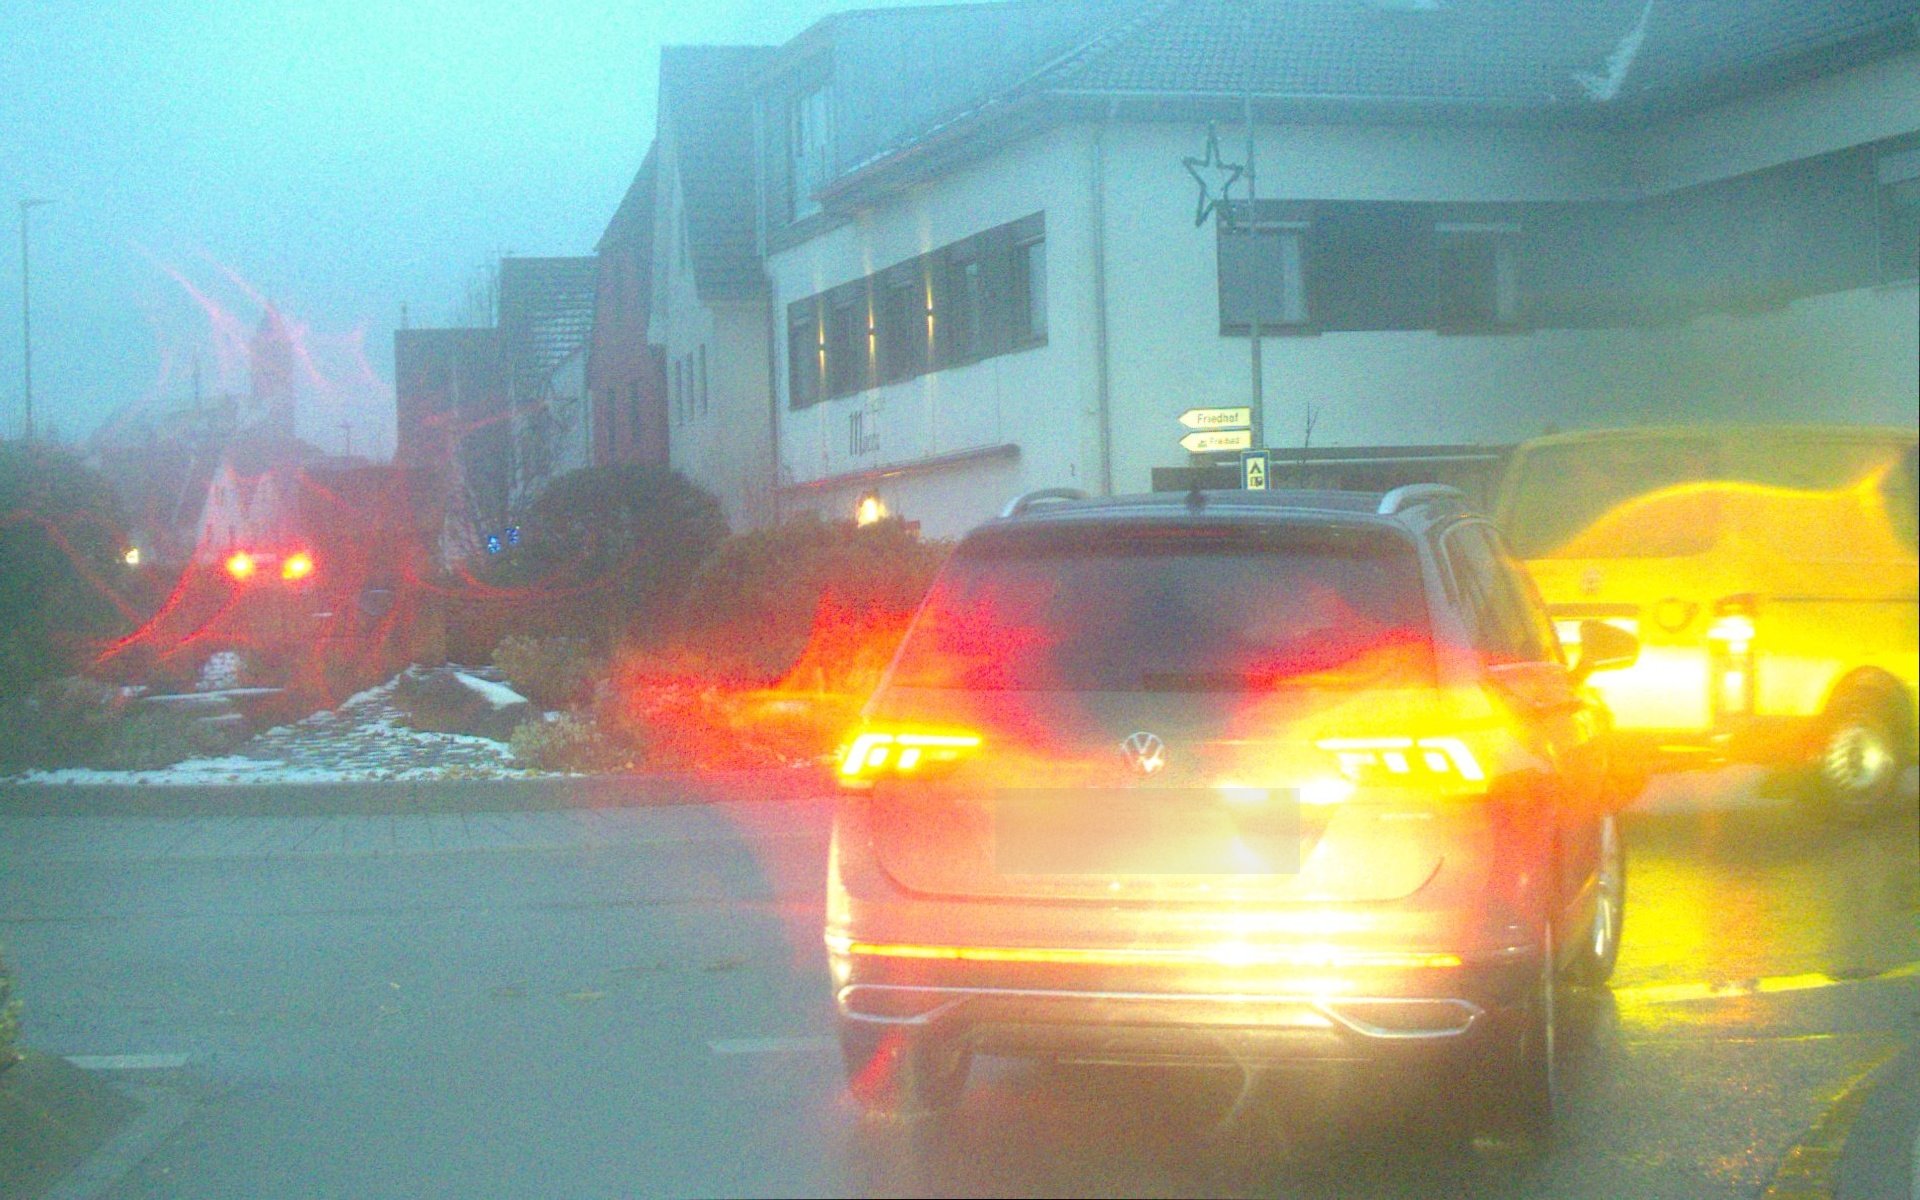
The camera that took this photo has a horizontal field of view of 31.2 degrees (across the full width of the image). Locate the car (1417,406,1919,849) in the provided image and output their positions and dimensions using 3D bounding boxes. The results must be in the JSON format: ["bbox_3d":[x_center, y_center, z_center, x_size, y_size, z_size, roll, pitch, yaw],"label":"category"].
[{"bbox_3d":[4.871,0.090,17.819,4.884,2.007,2.000,-1,0,-35],"label":"car"}]

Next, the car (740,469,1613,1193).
[{"bbox_3d":[0.837,0.500,9.777,1.916,1.610,3.948,-1,1,12],"label":"car"}]
